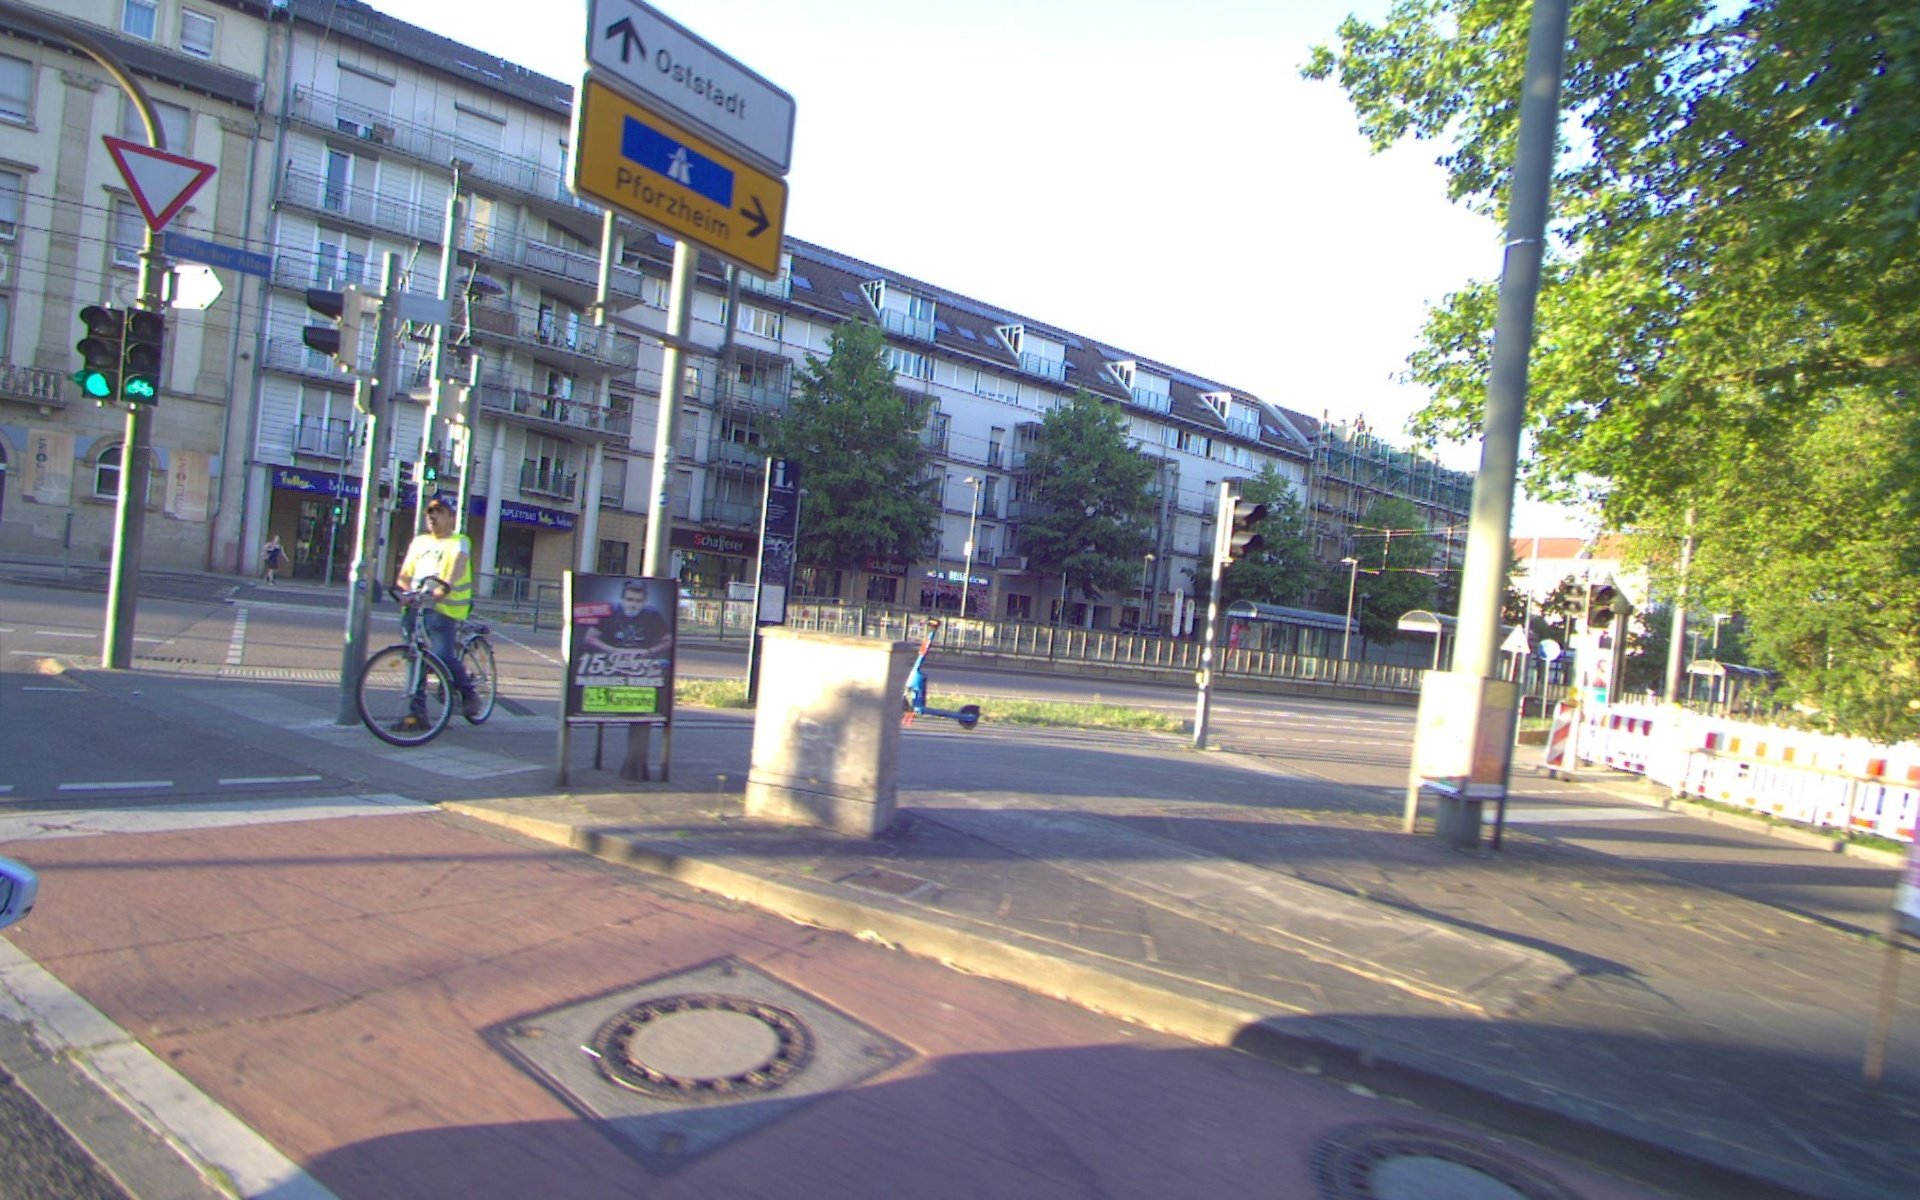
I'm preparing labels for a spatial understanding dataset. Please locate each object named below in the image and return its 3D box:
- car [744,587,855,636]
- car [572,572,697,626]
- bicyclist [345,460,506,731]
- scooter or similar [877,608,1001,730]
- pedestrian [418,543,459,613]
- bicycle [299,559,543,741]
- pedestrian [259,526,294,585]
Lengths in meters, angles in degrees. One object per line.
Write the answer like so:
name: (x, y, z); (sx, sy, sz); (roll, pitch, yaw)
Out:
car: (-6.523, 0.467, 41.005); (3.968, 1.503, 1.831); (8, -2, -38)
car: (-11.990, -0.033, 37.109); (3.962, 1.503, 1.834); (8, -2, -34)
bicyclist: (-3.903, -0.019, 7.397); (0.616, 1.846, 0.699); (6, -1, 0)
scooter or similar: (-0.248, 0.789, 11.578); (1.216, 1.264, 0.514); (7, -1, -18)
pedestrian: (-17.441, -0.744, 33.636); (0.863, 2.235, 0.812); (7, -1, -38)
bicycle: (-3.943, 0.366, 7.593); (0.616, 1.122, 2.073); (6, -2, 0)
pedestrian: (-22.347, -1.446, 32.894); (0.781, 1.800, 0.539); (7, -1, -33)
